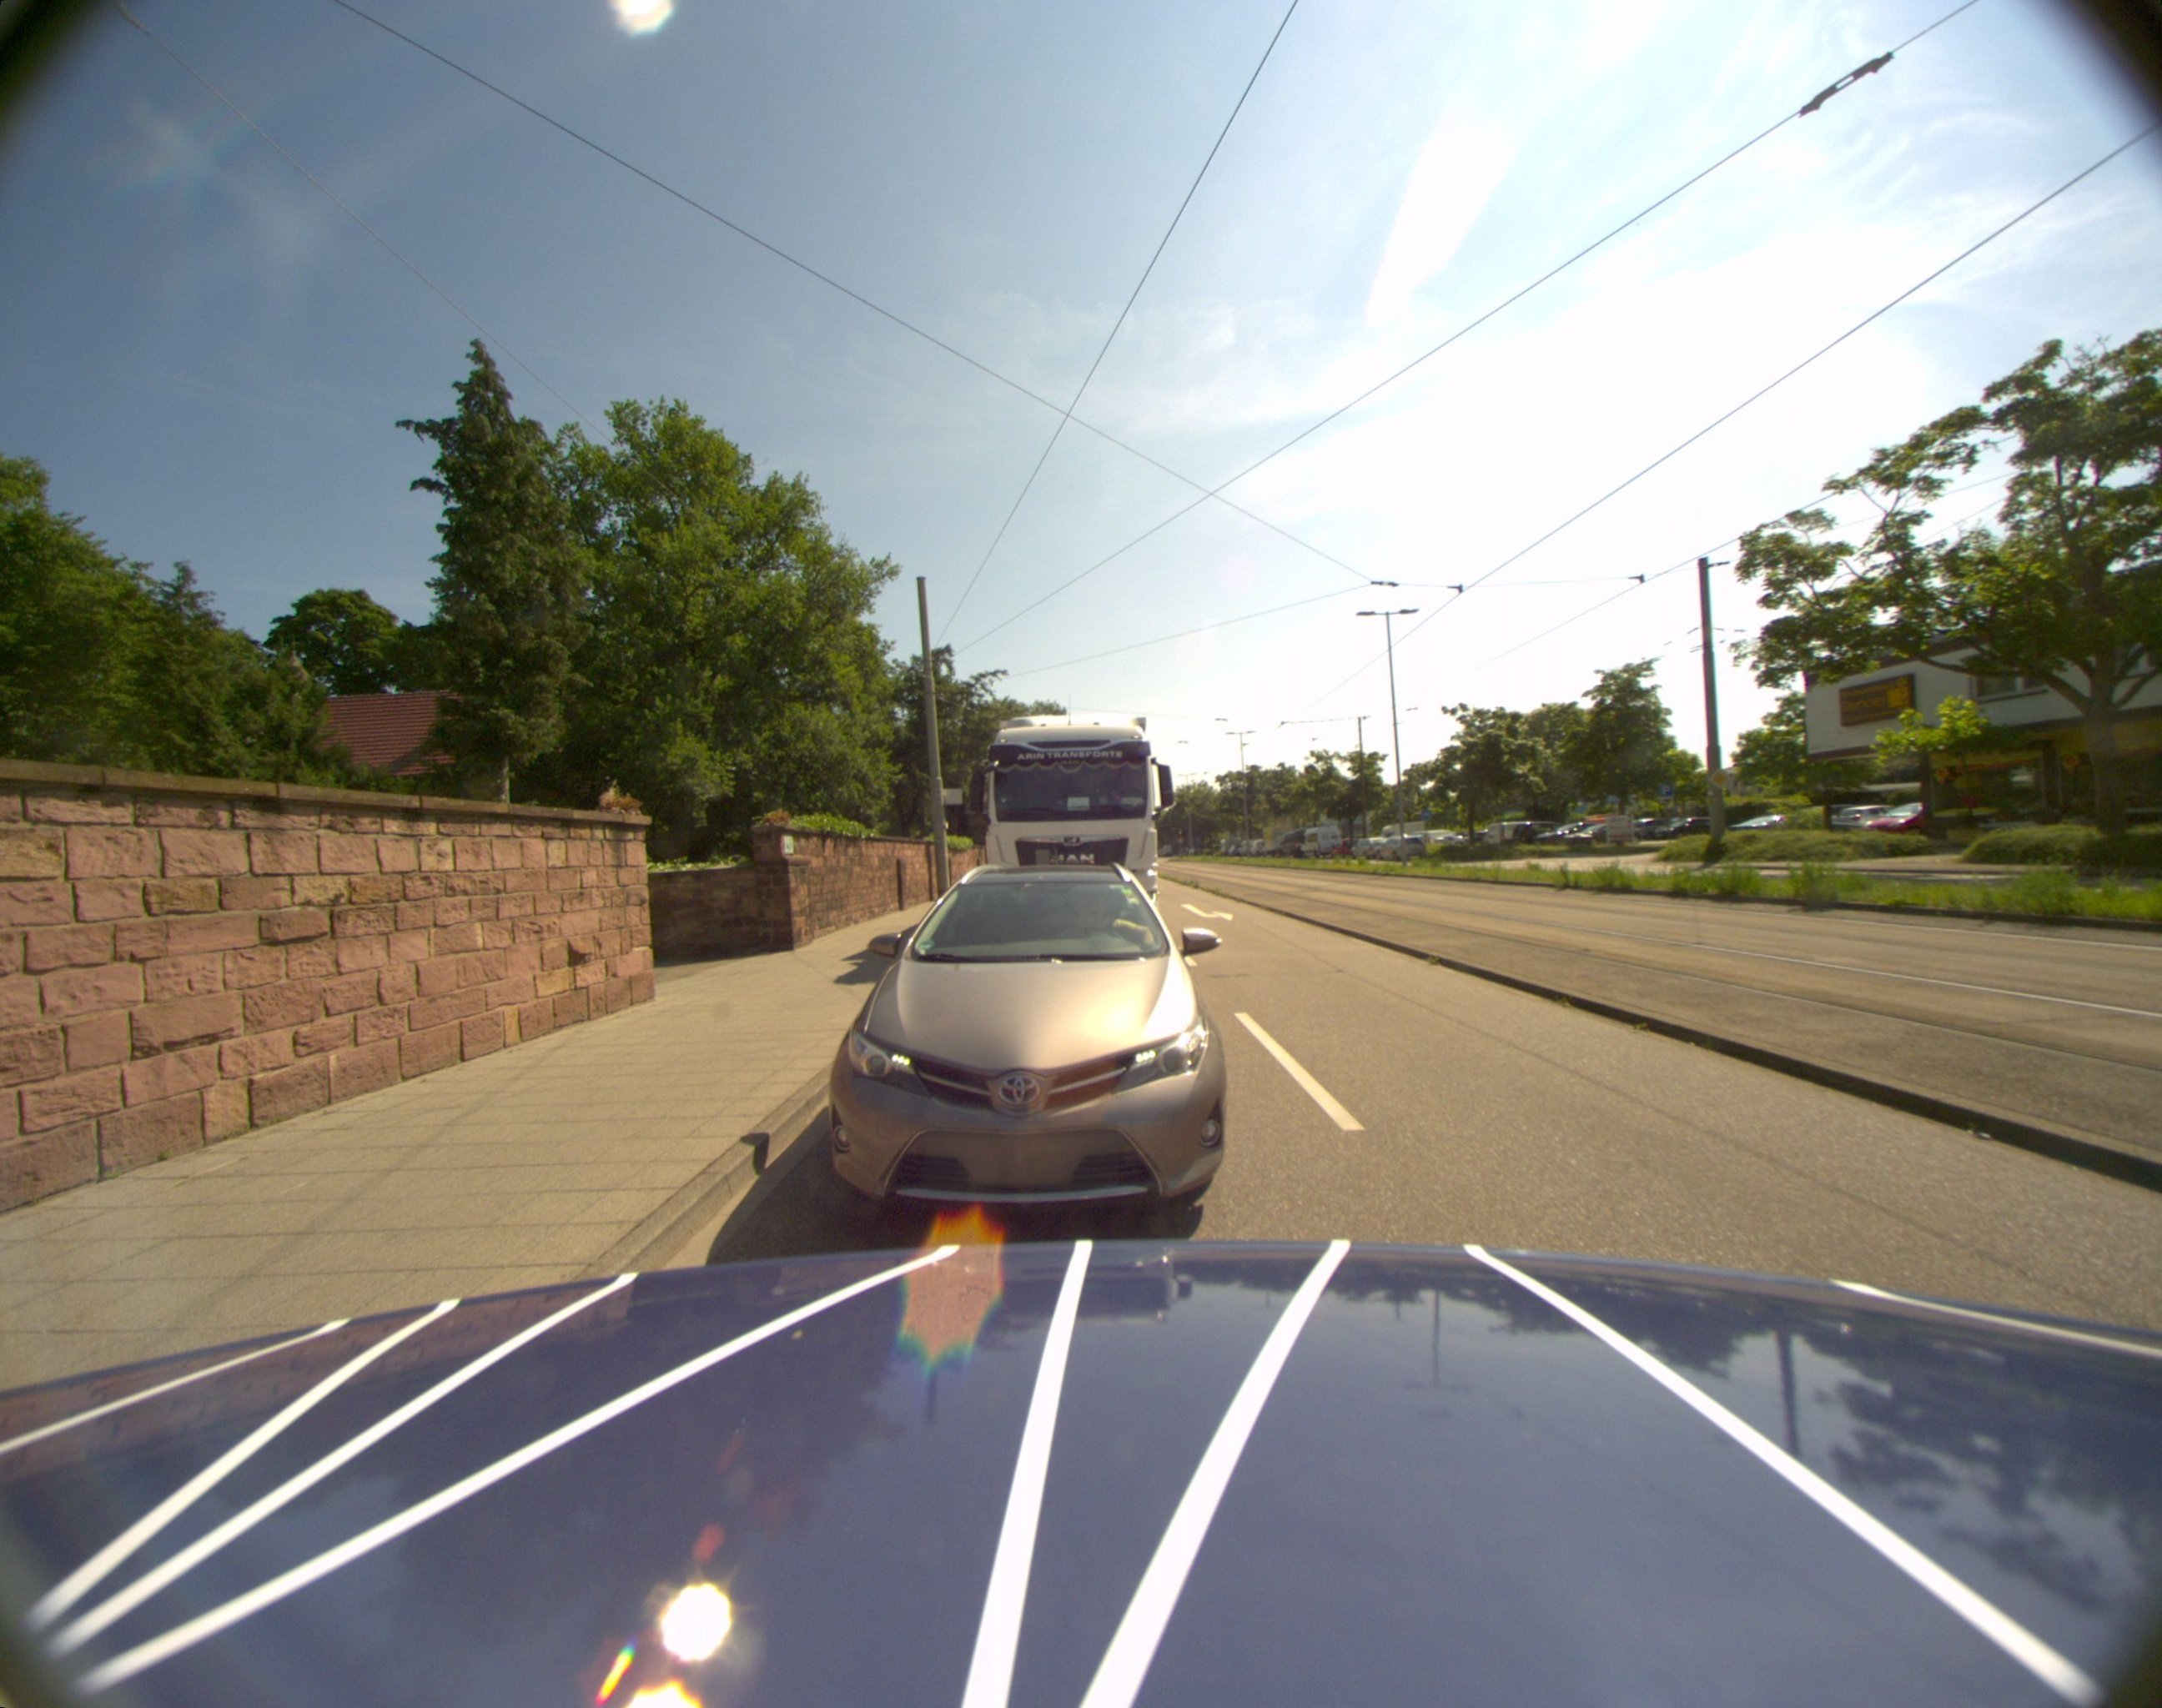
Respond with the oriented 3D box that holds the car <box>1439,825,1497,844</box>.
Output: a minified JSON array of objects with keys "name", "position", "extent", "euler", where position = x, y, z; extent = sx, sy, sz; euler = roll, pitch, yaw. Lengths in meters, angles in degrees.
[{"name":"car","position":[30.966,-1.535,60.850],"extent":[3.624,1.274,1.812],"euler":[-3,0,-1]}]

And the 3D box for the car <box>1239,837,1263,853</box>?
[{"name":"car","position":[21.051,-1.089,94.291],"extent":[1.893,1.757,4.232],"euler":[-3,0,0]}]

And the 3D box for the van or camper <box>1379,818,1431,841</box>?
[{"name":"van or camper","position":[44.859,-3.385,105.390],"extent":[6.081,2.715,2.299],"euler":[-3,1,3]}]

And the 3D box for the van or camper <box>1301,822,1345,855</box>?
[{"name":"van or camper","position":[20.268,-1.267,63.796],"extent":[2.040,2.617,4.839],"euler":[-3,0,0]}]

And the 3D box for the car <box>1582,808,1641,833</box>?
[{"name":"car","position":[43.606,-2.725,62.541],"extent":[3.624,1.767,1.712],"euler":[-3,1,-1]}]

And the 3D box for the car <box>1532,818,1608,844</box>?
[{"name":"car","position":[30.495,-1.405,47.455],"extent":[3.624,1.353,1.712],"euler":[-3,1,-1]}]

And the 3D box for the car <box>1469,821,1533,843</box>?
[{"name":"car","position":[30.375,-1.581,54.990],"extent":[3.624,1.277,1.712],"euler":[-3,1,-1]}]

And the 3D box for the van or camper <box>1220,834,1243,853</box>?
[{"name":"van or camper","position":[21.175,-1.472,107.207],"extent":[2.114,2.604,5.451],"euler":[-2,1,1]}]

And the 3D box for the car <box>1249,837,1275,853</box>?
[{"name":"car","position":[20.778,-1.029,87.356],"extent":[1.893,1.724,4.232],"euler":[-3,0,0]}]

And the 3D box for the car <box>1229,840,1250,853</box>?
[{"name":"car","position":[20.912,-0.942,100.296],"extent":[1.893,1.551,4.232],"euler":[-3,0,0]}]

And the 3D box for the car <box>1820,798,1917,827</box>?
[{"name":"car","position":[43.785,-2.298,42.277],"extent":[3.624,1.353,1.712],"euler":[-3,1,-1]}]

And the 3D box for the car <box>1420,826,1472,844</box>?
[{"name":"car","position":[31.689,-1.623,66.024],"extent":[3.624,1.274,1.712],"euler":[-3,1,-1]}]

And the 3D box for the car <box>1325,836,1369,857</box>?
[{"name":"car","position":[20.533,-0.593,58.879],"extent":[1.893,1.486,4.232],"euler":[-3,0,0]}]

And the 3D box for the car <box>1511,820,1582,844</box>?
[{"name":"car","position":[30.698,-1.444,50.198],"extent":[3.624,1.353,1.712],"euler":[-3,1,-1]}]

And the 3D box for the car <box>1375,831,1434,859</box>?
[{"name":"car","position":[20.388,-0.534,48.112],"extent":[1.892,1.486,4.285],"euler":[-6,0,2]}]

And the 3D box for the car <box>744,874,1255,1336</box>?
[{"name":"car","position":[-0.254,0.949,4.899],"extent":[1.742,1.424,4.462],"euler":[-2,0,1]}]

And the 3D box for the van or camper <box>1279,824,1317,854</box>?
[{"name":"van or camper","position":[20.215,-1.344,70.852],"extent":[2.040,2.617,4.839],"euler":[-3,0,0]}]

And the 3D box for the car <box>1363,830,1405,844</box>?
[{"name":"car","position":[32.003,-1.796,80.310],"extent":[3.624,1.274,1.712],"euler":[-3,1,-1]}]

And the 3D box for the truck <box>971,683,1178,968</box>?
[{"name":"truck","position":[-0.023,-0.418,15.036],"extent":[2.746,3.852,9.110],"euler":[-2,0,1]}]

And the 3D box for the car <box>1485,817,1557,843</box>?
[{"name":"car","position":[30.447,-1.642,52.664],"extent":[3.749,1.560,1.951],"euler":[-3,1,-1]}]

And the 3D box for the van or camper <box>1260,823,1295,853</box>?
[{"name":"van or camper","position":[20.289,-1.611,78.742],"extent":[2.128,2.967,5.281],"euler":[-3,0,0]}]

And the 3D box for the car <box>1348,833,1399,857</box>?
[{"name":"car","position":[20.533,-0.633,53.556],"extent":[1.893,1.551,4.285],"euler":[-3,0,0]}]

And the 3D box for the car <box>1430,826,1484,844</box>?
[{"name":"car","position":[31.466,-1.587,63.640],"extent":[3.624,1.274,1.712],"euler":[-3,1,-1]}]

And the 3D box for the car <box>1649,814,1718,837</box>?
[{"name":"car","position":[43.533,-2.038,54.940],"extent":[3.624,1.353,1.712],"euler":[-3,1,-1]}]

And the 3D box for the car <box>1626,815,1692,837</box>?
[{"name":"car","position":[43.733,-2.098,57.530],"extent":[3.624,1.353,1.712],"euler":[-3,1,-1]}]
